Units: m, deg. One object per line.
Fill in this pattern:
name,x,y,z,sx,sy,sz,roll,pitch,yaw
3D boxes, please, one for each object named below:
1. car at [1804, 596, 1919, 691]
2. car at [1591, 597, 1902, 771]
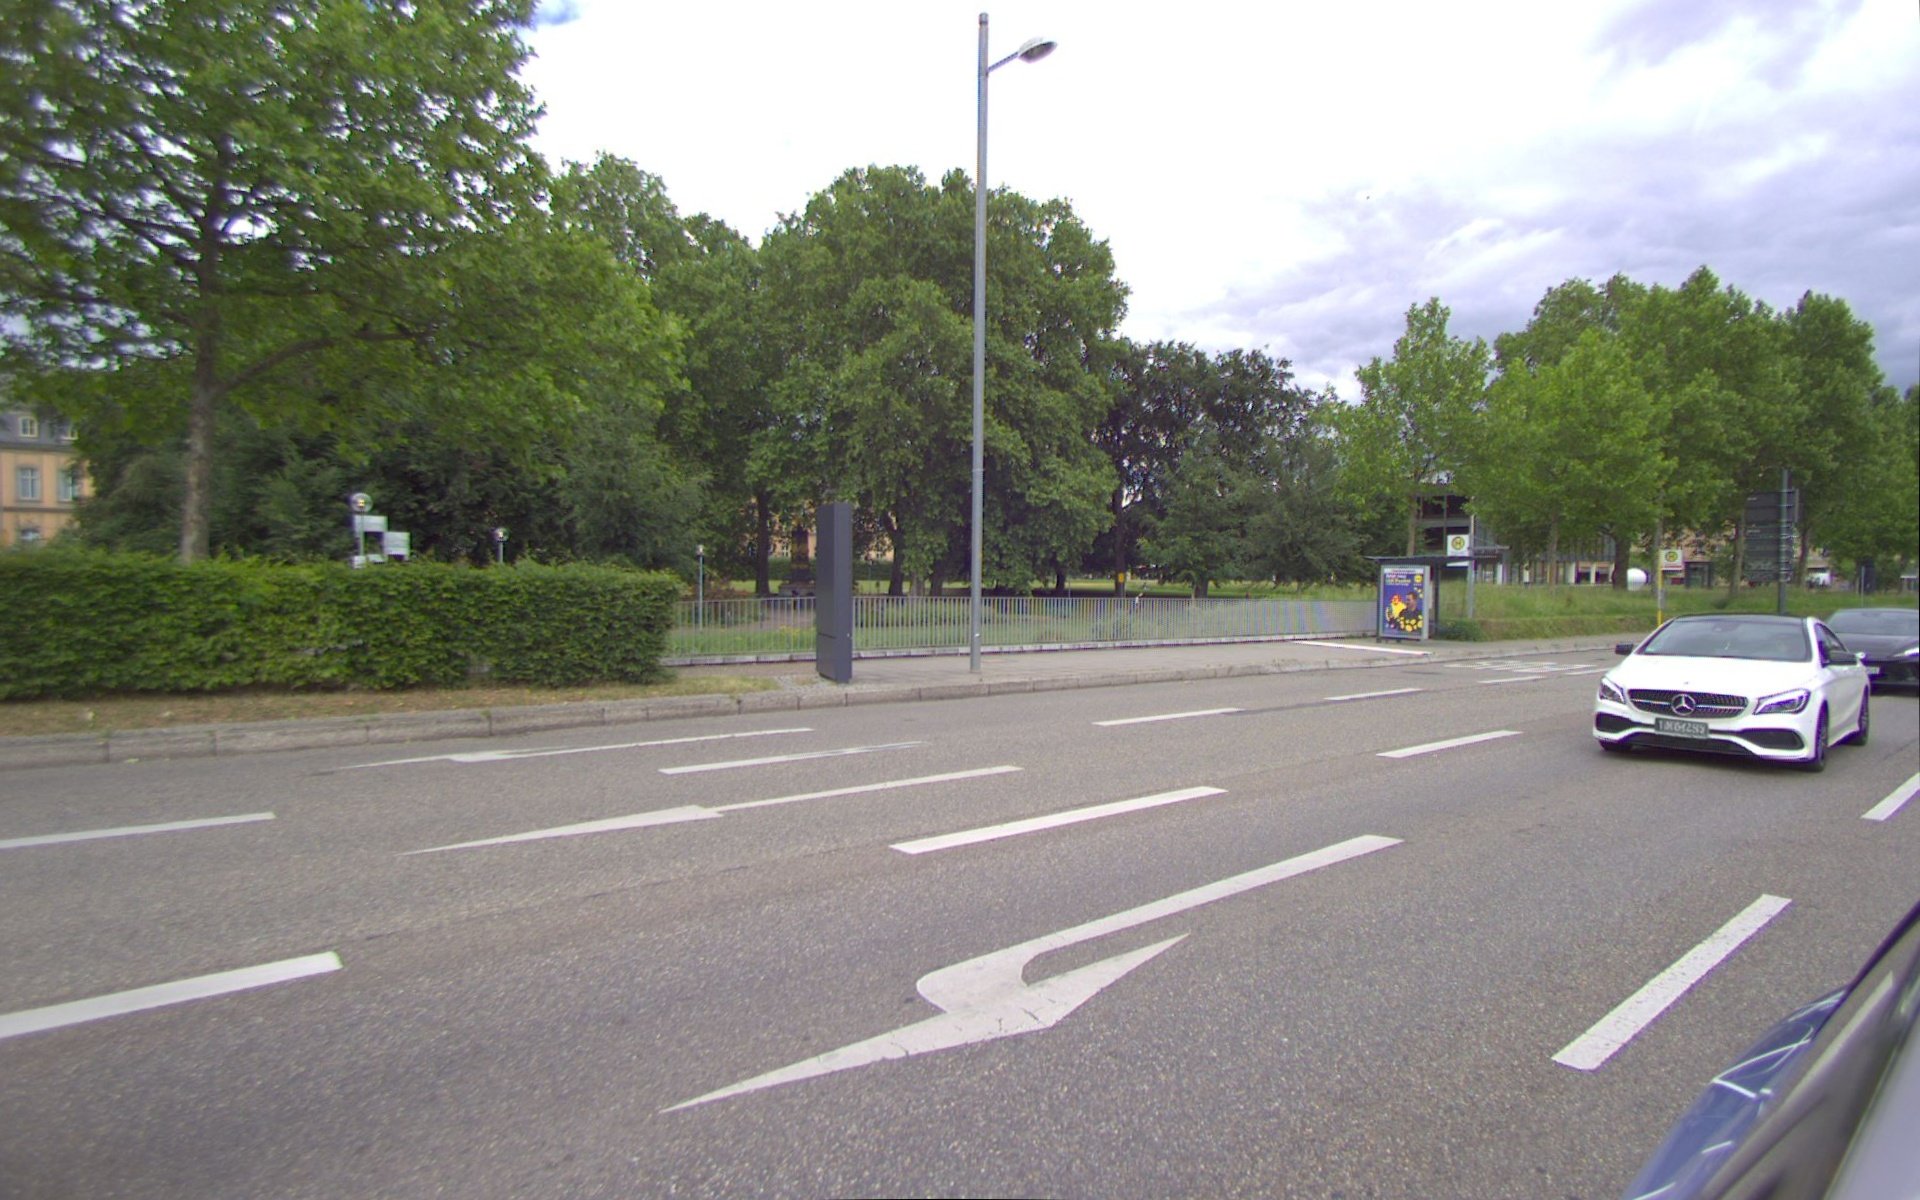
car,16.851,0.732,18.270,4.047,1.543,1.828,1,0,-41
car,8.386,0.705,10.641,4.426,1.441,1.722,0,1,-40
